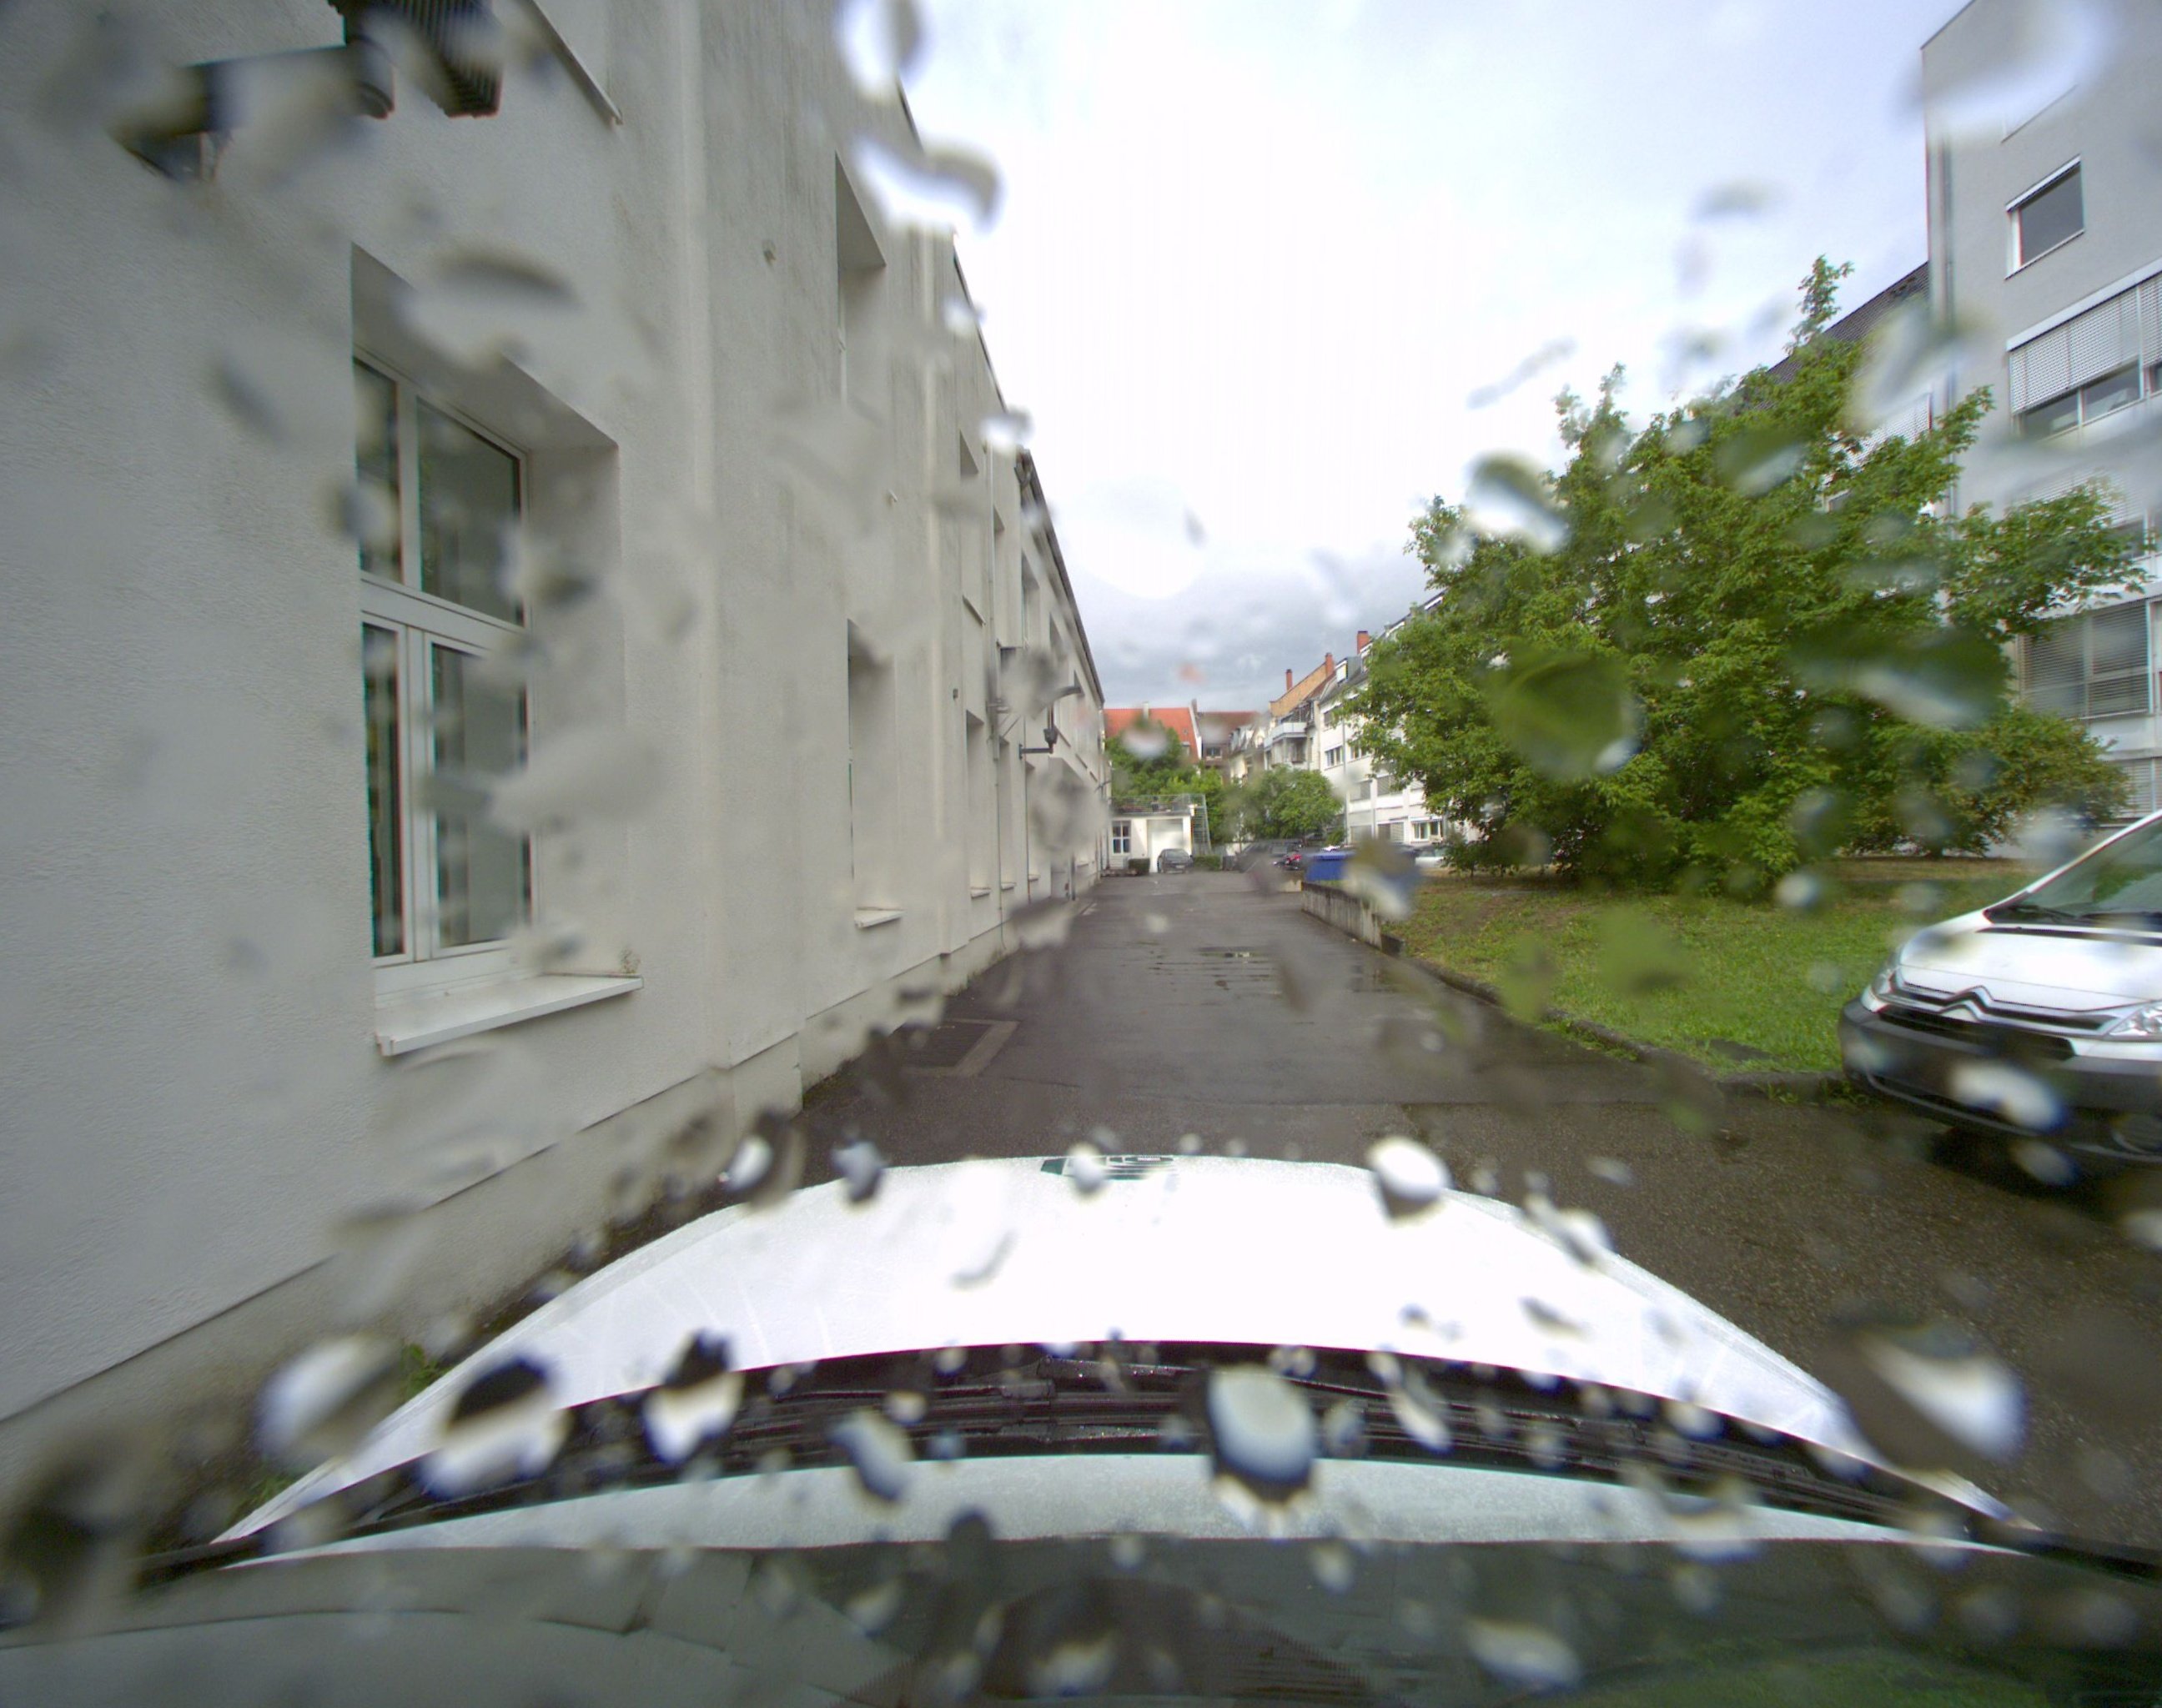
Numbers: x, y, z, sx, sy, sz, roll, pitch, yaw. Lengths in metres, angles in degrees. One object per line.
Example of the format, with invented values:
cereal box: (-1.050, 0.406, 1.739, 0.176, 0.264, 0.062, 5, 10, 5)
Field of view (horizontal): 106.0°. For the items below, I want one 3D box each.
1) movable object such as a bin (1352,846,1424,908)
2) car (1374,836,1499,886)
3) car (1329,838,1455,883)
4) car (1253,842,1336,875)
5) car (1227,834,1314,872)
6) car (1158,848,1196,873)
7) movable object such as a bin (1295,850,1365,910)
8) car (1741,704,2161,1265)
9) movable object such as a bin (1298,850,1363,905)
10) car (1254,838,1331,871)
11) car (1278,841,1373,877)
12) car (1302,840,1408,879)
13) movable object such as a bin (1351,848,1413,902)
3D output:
movable object such as a bin: (7.146, 0.520, 19.038, 1.286, 1.336, 1.199, -3, 0, 6)
car: (11.821, 0.226, 27.211, 3.403, 1.427, 1.688, -3, -1, 1)
car: (11.523, 0.230, 30.347, 3.973, 1.445, 1.807, -3, 0, 0)
car: (11.327, 0.229, 43.386, 3.898, 1.513, 1.751, -3, 0, -1)
car: (11.448, -0.067, 49.307, 4.630, 2.003, 2.220, -3, 1, -7)
car: (5.776, 0.361, 49.408, 1.971, 1.444, 4.002, -1, 0, 2)
movable object such as a bin: (5.804, 0.600, 19.070, 1.331, 1.292, 1.097, -3, 1, 6)
car: (6.228, 0.421, 3.546, 4.849, 1.926, 2.103, -1, -1, 6)
movable object such as a bin: (6.354, 0.587, 20.809, 1.365, 1.304, 1.085, -3, 0, 6)
car: (12.055, 0.031, 46.531, 3.893, 1.687, 1.818, -3, 0, 2)
car: (11.588, 0.238, 38.718, 3.900, 1.513, 1.817, -3, 0, -4)
car: (11.865, 0.235, 35.425, 3.976, 1.458, 1.772, -3, 0, -2)
movable object such as a bin: (7.647, 0.518, 20.747, 1.180, 1.304, 1.108, -3, 0, 5)
